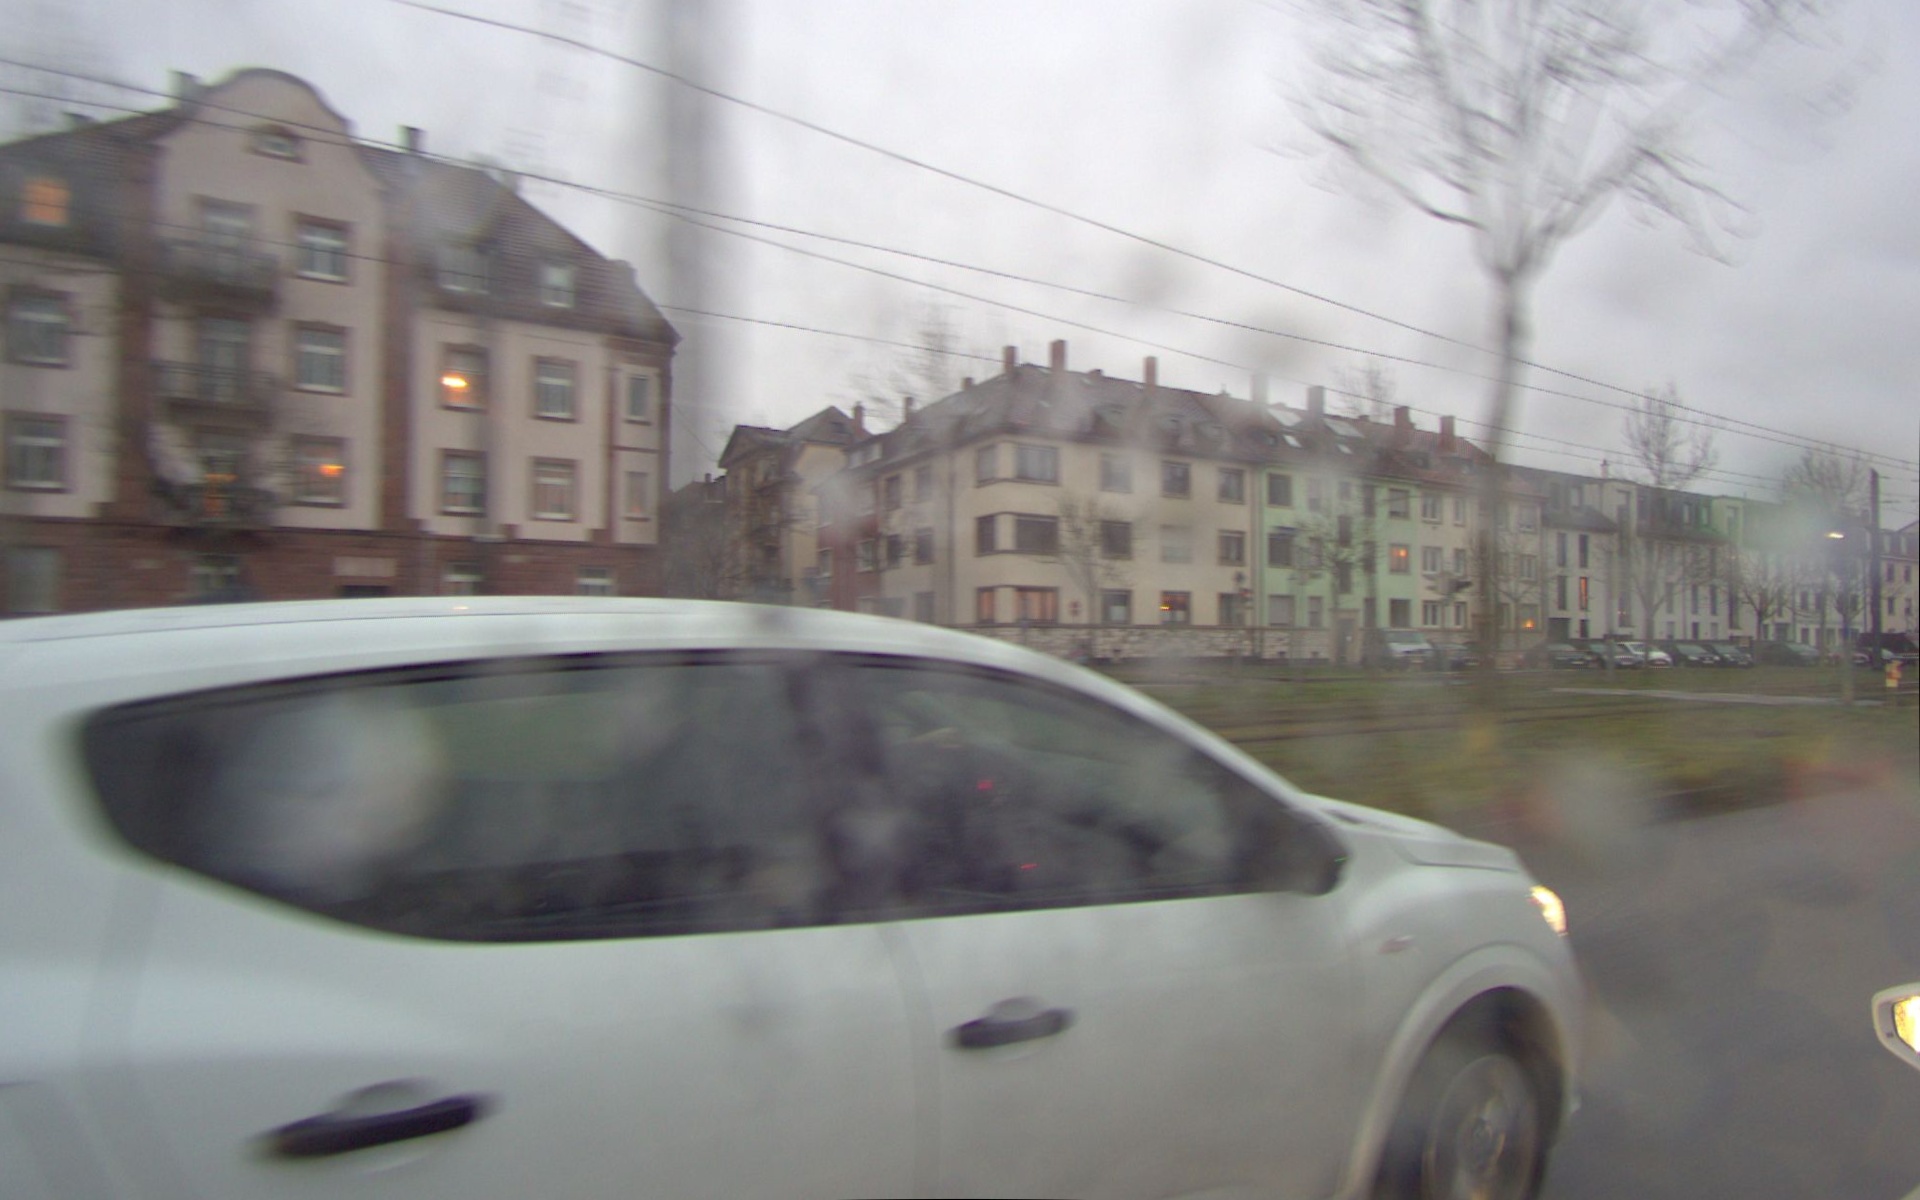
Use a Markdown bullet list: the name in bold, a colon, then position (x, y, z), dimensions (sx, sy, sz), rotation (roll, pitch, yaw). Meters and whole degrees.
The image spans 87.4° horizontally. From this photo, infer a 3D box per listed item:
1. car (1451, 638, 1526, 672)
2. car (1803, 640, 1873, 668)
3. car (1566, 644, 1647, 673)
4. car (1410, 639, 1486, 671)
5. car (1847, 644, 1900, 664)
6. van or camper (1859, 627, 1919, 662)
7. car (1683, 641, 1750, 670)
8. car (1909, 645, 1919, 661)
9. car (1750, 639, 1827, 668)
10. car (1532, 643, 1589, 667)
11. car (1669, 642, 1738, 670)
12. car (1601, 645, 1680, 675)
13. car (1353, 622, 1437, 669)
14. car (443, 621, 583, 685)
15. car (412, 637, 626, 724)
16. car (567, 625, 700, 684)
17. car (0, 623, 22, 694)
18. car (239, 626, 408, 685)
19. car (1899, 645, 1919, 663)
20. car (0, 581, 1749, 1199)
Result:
- **car**: position (24.026, 2.465, 45.782), dimensions (1.653, 1.326, 3.581), rotation (1, 0, 3)
- **car**: position (57.194, 3.483, 65.508), dimensions (1.707, 1.610, 3.852), rotation (1, 0, 11)
- **car**: position (32.282, 2.903, 50.281), dimensions (1.703, 1.188, 3.822), rotation (1, 0, 3)
- **car**: position (21.482, 2.403, 44.375), dimensions (1.702, 1.156, 3.573), rotation (1, 0, 3)
- **car**: position (62.703, 3.720, 68.996), dimensions (1.360, 1.220, 2.890), rotation (1, 0, 11)
- **van or camper**: position (69.415, 3.271, 73.156), dimensions (1.960, 2.391, 6.884), rotation (1, 0, 4)
- **car**: position (43.151, 3.155, 57.394), dimensions (1.636, 1.440, 3.387), rotation (1, 0, 9)
- **car**: position (75.331, 4.118, 77.033), dimensions (1.845, 1.216, 3.541), rotation (1, 0, 2)
- **car**: position (51.349, 3.312, 62.382), dimensions (1.636, 1.561, 4.165), rotation (1, 0, 6)
- **car**: position (29.278, 2.674, 49.013), dimensions (1.408, 1.062, 2.393), rotation (1, 0, 2)
- **car**: position (41.020, 3.071, 55.475), dimensions (1.703, 1.354, 2.937), rotation (1, 0, 2)
- **car**: position (34.923, 3.060, 51.668), dimensions (1.702, 1.262, 3.846), rotation (1, 0, 6)
- **car**: position (18.479, 1.895, 42.859), dimensions (1.796, 1.746, 4.660), rotation (1, 0, 4)
- **car**: position (-11.138, 1.274, 25.344), dimensions (1.321, 1.247, 4.046), rotation (3, 1, 6)
- **car**: position (-8.715, 1.537, 19.917), dimensions (3.738, 1.524, 1.538), rotation (2, 0, -30)
- **car**: position (-8.633, 1.399, 26.926), dimensions (1.677, 1.176, 4.107), rotation (3, 1, 9)
- **car**: position (-20.511, 1.163, 19.323), dimensions (1.842, 1.437, 3.361), rotation (3, 0, -5)
- **car**: position (-14.172, 1.202, 22.554), dimensions (1.759, 1.003, 2.920), rotation (3, 1, 5)
- **car**: position (73.282, 4.133, 75.760), dimensions (1.713, 1.228, 3.541), rotation (1, 0, 2)
- **car**: position (-0.184, 0.757, 2.286), dimensions (3.951, 1.494, 1.681), rotation (2, 0, -28)
